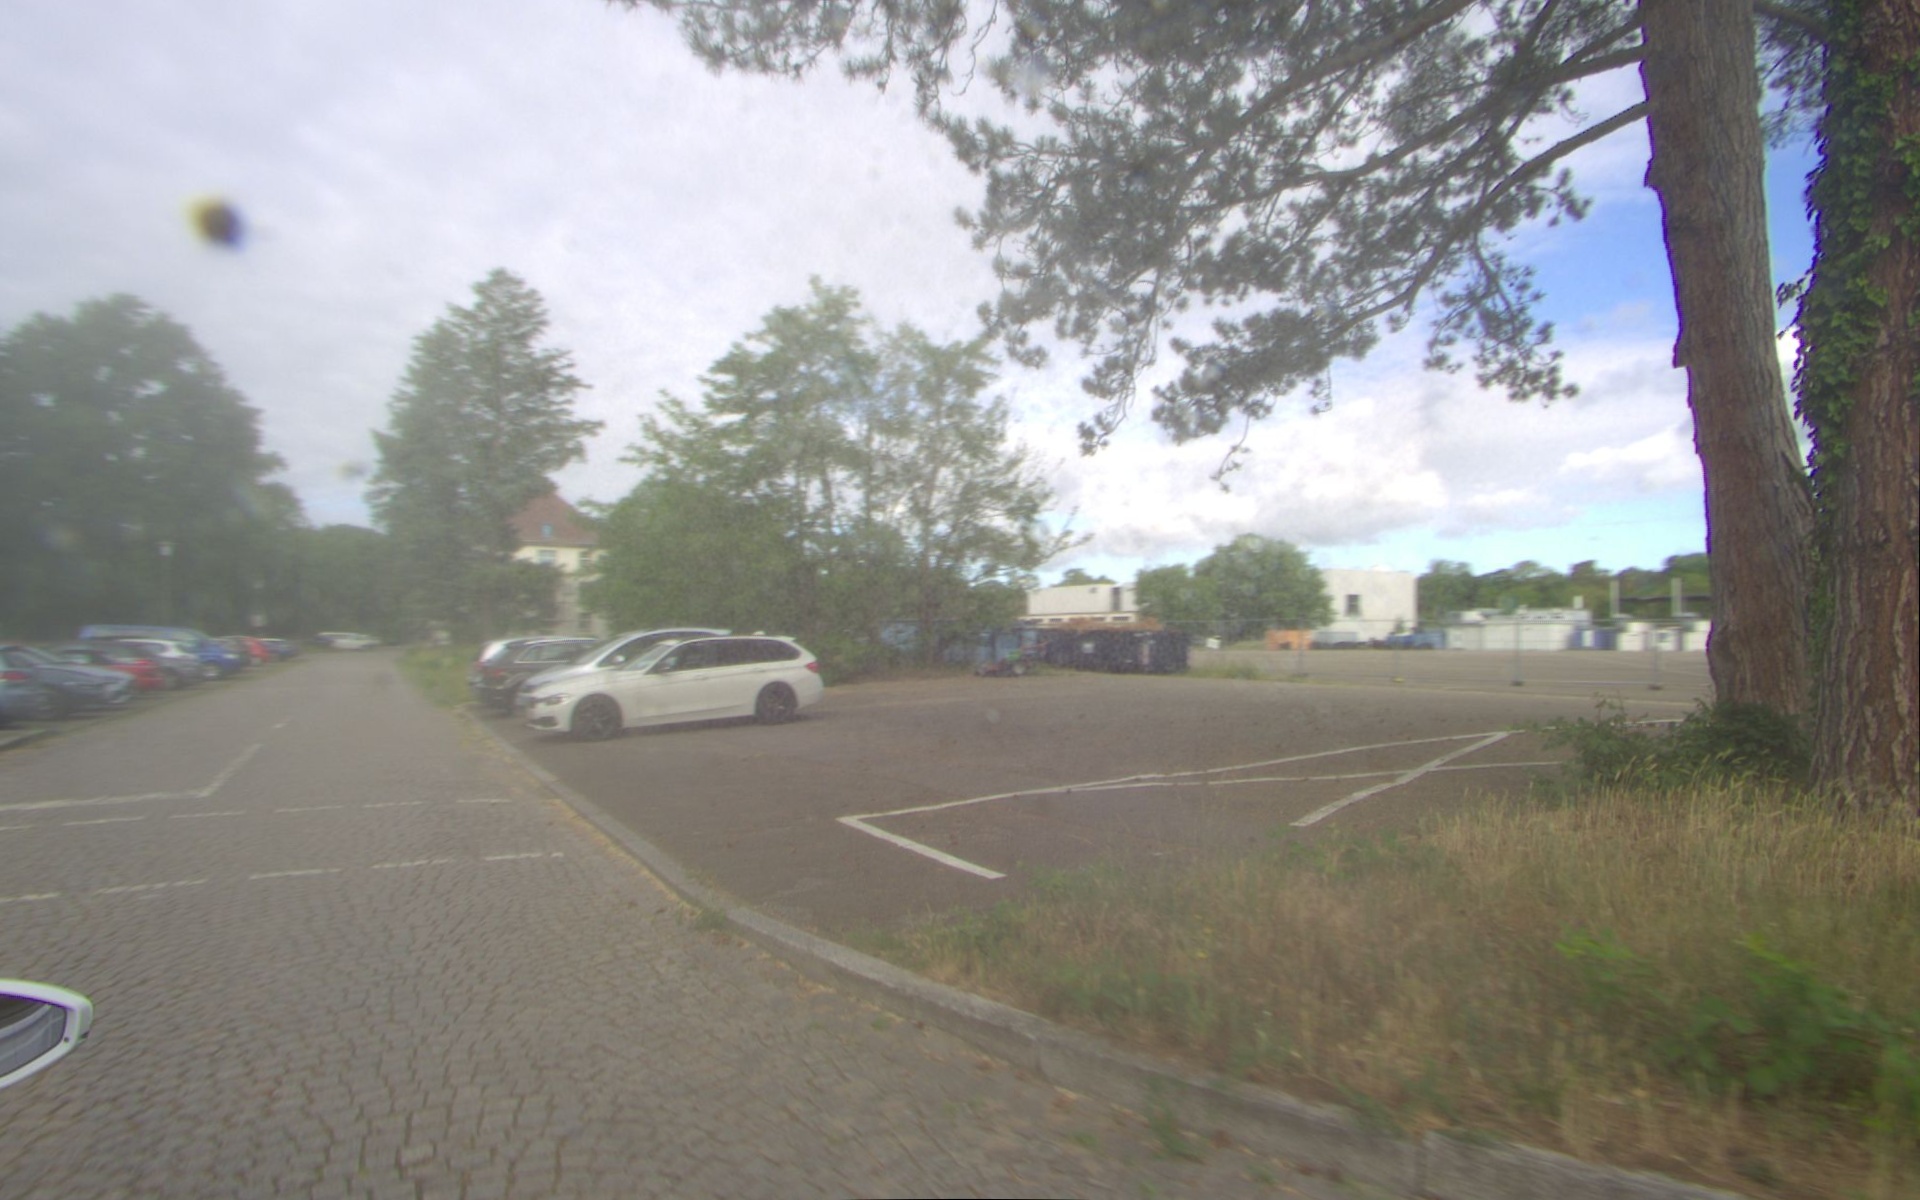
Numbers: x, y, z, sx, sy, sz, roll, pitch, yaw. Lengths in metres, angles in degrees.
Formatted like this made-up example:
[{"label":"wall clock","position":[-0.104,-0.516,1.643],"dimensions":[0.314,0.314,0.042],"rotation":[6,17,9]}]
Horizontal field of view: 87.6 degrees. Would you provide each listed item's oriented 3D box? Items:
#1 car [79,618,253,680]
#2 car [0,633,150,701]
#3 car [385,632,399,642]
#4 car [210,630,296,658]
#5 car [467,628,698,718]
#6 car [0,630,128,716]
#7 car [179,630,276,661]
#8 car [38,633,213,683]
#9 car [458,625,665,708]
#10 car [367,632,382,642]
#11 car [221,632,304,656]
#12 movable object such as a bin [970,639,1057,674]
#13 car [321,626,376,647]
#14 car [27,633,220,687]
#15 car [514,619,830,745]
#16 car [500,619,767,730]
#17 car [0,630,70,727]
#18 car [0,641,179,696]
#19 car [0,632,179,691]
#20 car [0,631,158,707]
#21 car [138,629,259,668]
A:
[{"label":"car","position":[-29.094,1.783,36.924],"dimensions":[4.732,2.149,2.104],"rotation":[1,-2,-32]},{"label":"car","position":[-21.346,1.498,22.911],"dimensions":[4.122,1.495,1.854],"rotation":[1,-2,-31]},{"label":"car","position":[-96.260,6.262,169.805],"dimensions":[1.931,1.541,3.978],"rotation":[1,-2,-32]},{"label":"car","position":[-43.888,2.732,62.278],"dimensions":[4.185,1.597,1.876],"rotation":[3,-2,-32]},{"label":"car","position":[-7.576,1.390,20.212],"dimensions":[4.031,1.472,1.874],"rotation":[-2,0,-33]},{"label":"car","position":[-18.483,1.344,18.782],"dimensions":[4.209,1.568,1.923],"rotation":[1,-2,-34]},{"label":"car","position":[-38.935,2.402,53.348],"dimensions":[4.013,1.544,1.894],"rotation":[1,-2,-32]},{"label":"car","position":[-26.703,1.824,32.217],"dimensions":[4.023,1.516,1.836],"rotation":[1,-2,-30]},{"label":"car","position":[-8.926,1.427,22.544],"dimensions":[4.031,1.535,1.793],"rotation":[-2,0,-33]},{"label":"car","position":[-98.384,6.211,168.190],"dimensions":[2.096,1.541,3.979],"rotation":[1,-2,-31]},{"label":"car","position":[-46.157,2.917,66.375],"dimensions":[4.255,1.479,1.965],"rotation":[3,-2,-29]},{"label":"movable object such as a bin","position":[1.619,1.687,30.034],"dimensions":[2.655,1.001,0.848],"rotation":[1,-2,-34]},{"label":"car","position":[-67.329,4.048,110.290],"dimensions":[5.182,2.195,1.988],"rotation":[2,-2,-33]},{"label":"car","position":[-24.888,1.752,29.988],"dimensions":[4.119,1.510,1.856],"rotation":[1,-2,-29]},{"label":"car","position":[-4.520,1.183,15.935],"dimensions":[4.446,1.586,1.894],"rotation":[-2,0,-33]},{"label":"car","position":[-5.850,1.248,18.097],"dimensions":[4.197,1.617,1.873],"rotation":[-2,0,-35]},{"label":"car","position":[-17.338,1.266,16.302],"dimensions":[3.945,1.562,1.895],"rotation":[1,-2,-32]},{"label":"car","position":[-22.330,1.681,25.071],"dimensions":[4.120,1.283,1.822],"rotation":[1,-2,-30]},{"label":"car","position":[-23.969,1.637,27.168],"dimensions":[4.120,1.501,1.836],"rotation":[1,-2,-30]},{"label":"car","position":[-19.844,1.431,21.148],"dimensions":[4.330,1.527,1.924],"rotation":[1,-2,-33]},{"label":"car","position":[-33.694,2.132,44.463],"dimensions":[4.125,1.643,1.975],"rotation":[1,-2,-33]}]
